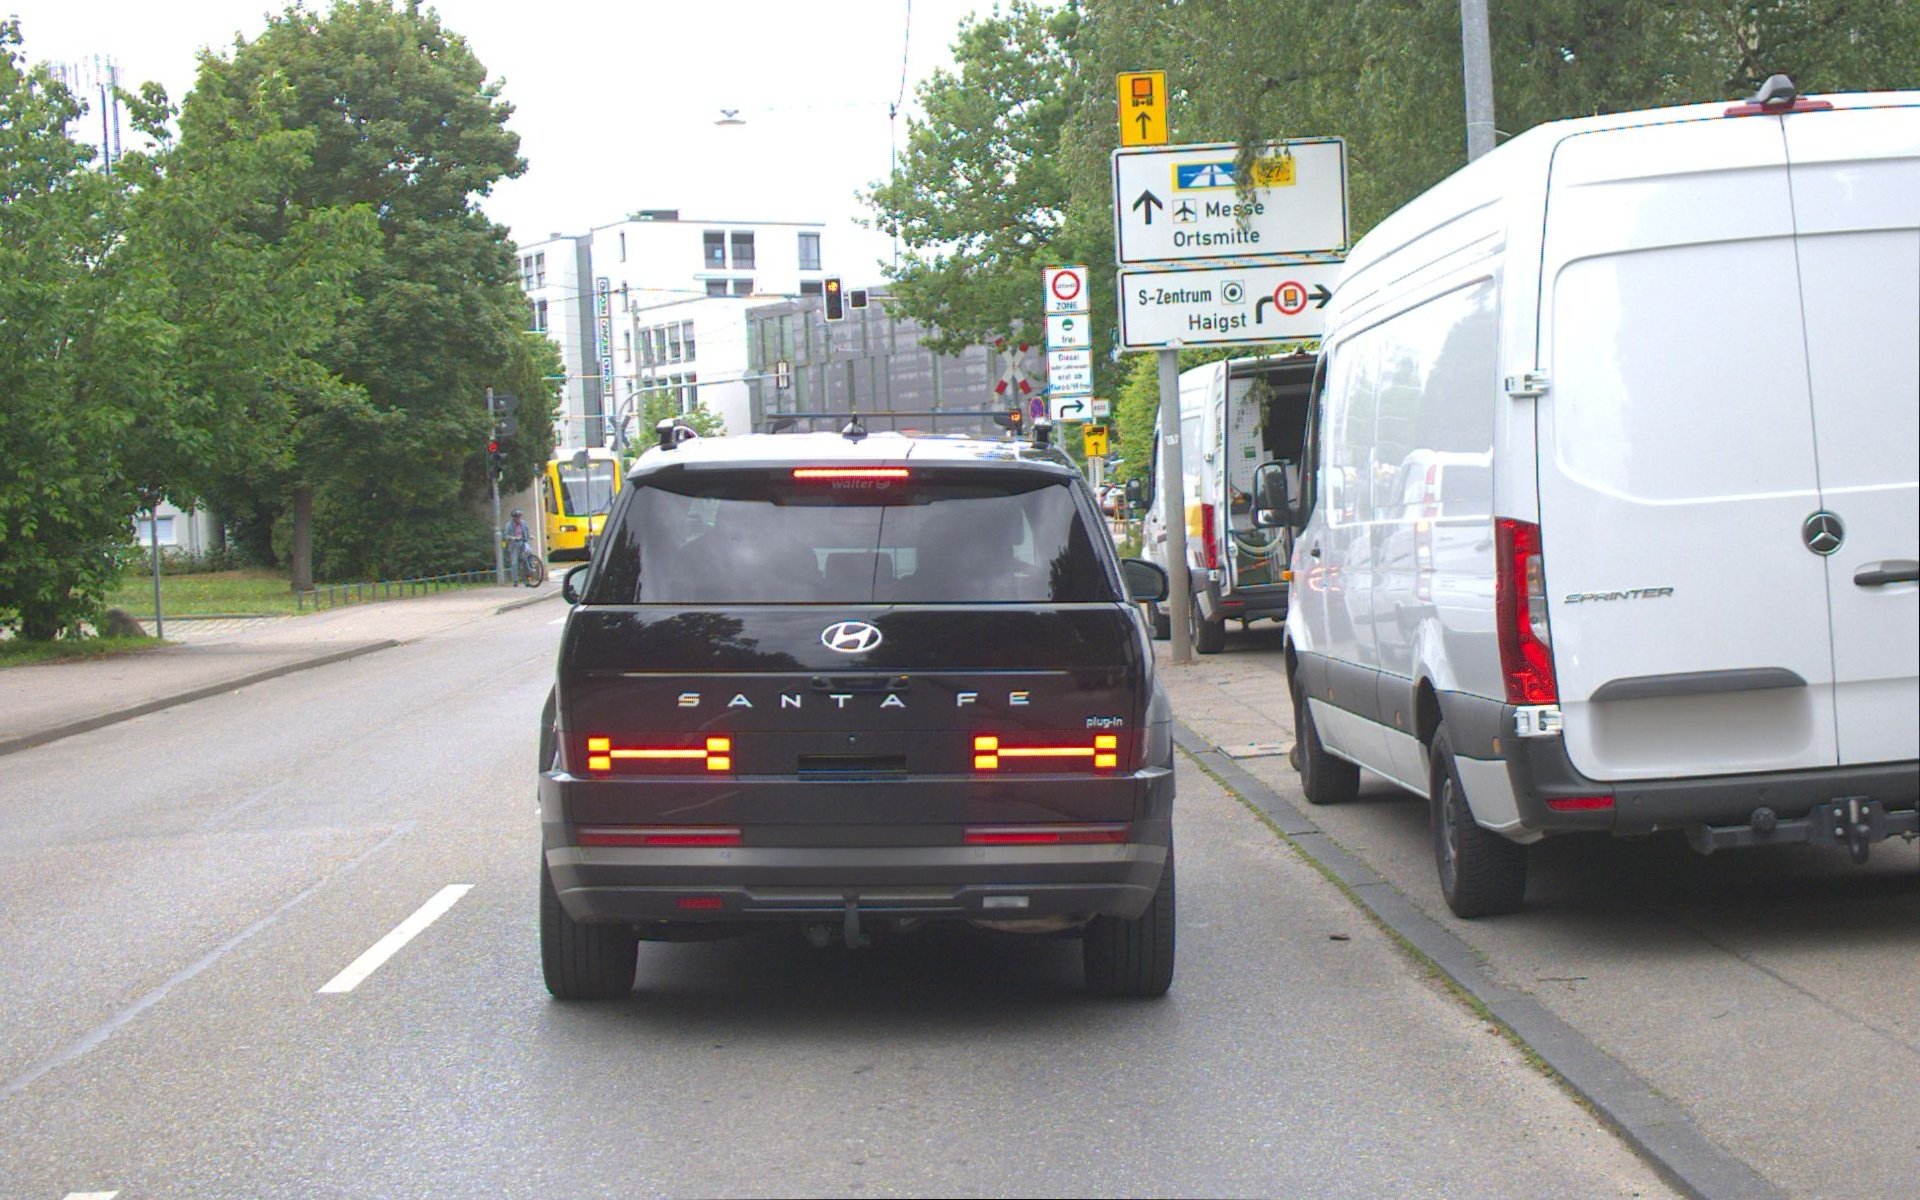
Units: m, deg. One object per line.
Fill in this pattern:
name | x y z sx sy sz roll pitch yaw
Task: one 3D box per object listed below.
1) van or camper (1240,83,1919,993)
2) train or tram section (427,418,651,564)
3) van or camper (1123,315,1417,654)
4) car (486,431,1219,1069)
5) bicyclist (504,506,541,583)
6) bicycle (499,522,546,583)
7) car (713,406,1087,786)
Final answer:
van or camper | 2.513 -0.298 13.446 1.963 2.618 6.359 -4 2 -1
train or tram section | -15.204 -3.691 121.974 3.192 4.507 18.688 -1 0 -22
van or camper | 2.798 -1.069 32.264 1.963 2.787 5.287 -4 2 -1
car | -0.342 0.350 11.356 1.963 1.705 4.001 -1 2 -1
bicyclist | -9.537 -1.205 74.931 0.675 1.653 0.859 -1 0 -14
bicycle | -9.537 -1.024 74.901 0.675 1.275 2.502 -1 0 -14
car | -0.372 -0.076 20.336 1.963 1.994 4.001 -1 2 -1
